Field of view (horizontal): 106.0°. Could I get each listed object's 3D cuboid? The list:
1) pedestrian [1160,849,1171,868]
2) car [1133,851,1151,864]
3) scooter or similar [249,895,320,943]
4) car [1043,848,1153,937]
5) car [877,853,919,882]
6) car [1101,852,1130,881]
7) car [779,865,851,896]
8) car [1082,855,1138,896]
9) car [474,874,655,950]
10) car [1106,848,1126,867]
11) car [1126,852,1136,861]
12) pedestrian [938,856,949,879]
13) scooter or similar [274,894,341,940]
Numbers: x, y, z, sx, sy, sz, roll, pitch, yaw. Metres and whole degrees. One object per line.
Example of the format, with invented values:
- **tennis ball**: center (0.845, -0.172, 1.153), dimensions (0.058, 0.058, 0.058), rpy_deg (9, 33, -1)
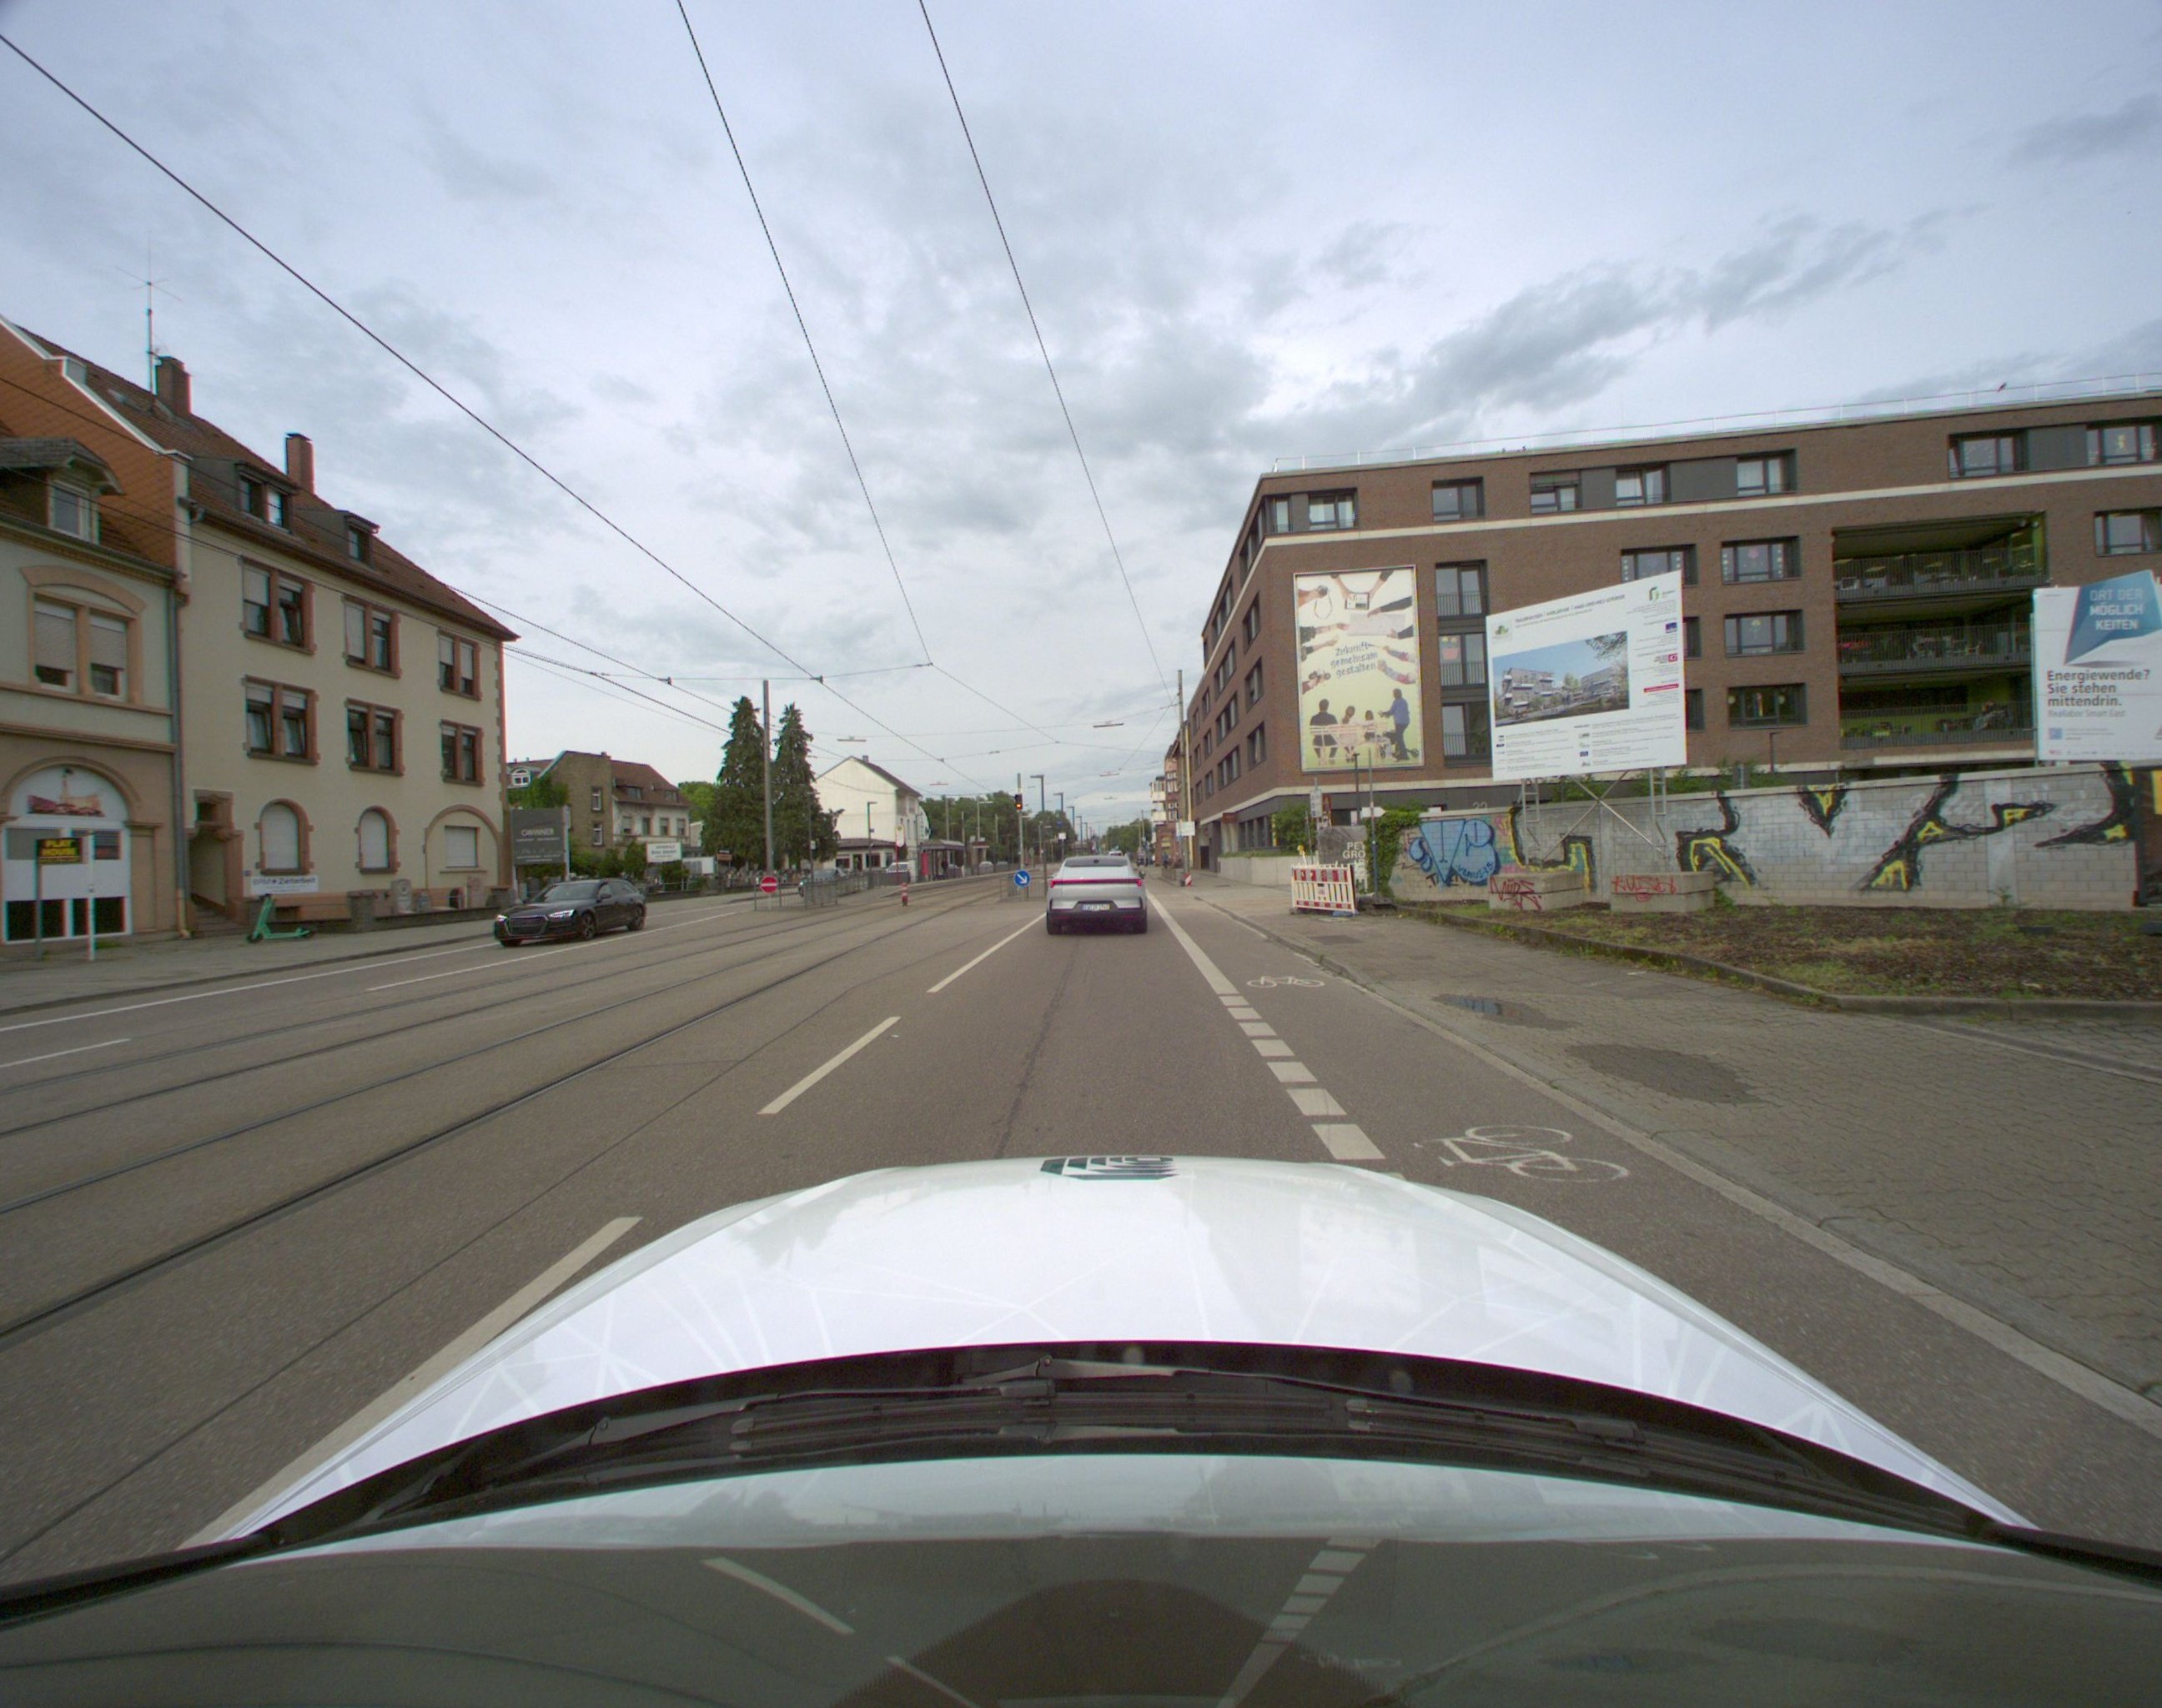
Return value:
- **pedestrian**: center (8.633, 0.503, 83.206), dimensions (0.955, 1.850, 0.978), rpy_deg (-4, 0, 8)
- **car**: center (9.748, 0.528, 130.227), dimensions (1.978, 2.014, 4.017), rpy_deg (-2, -1, 16)
- **scooter or similar**: center (-20.069, 1.623, 20.553), dimensions (1.182, 1.102, 0.522), rpy_deg (-1, -1, -32)
- **car**: center (0.254, 0.738, 16.896), dimensions (1.994, 1.581, 3.997), rpy_deg (-1, -1, -2)
- **car**: center (-13.467, 0.977, 60.095), dimensions (1.878, 1.988, 4.526), rpy_deg (-3, -1, 1)
- **car**: center (2.122, 0.761, 50.173), dimensions (1.674, 1.687, 3.826), rpy_deg (-1, -1, 3)
- **car**: center (-14.260, 1.376, 43.896), dimensions (1.871, 1.428, 4.433), rpy_deg (-3, 0, 7)
- **car**: center (1.105, 0.801, 31.985), dimensions (1.986, 1.420, 4.001), rpy_deg (-3, 0, 1)
- **car**: center (-12.440, 1.306, 20.060), dimensions (1.904, 1.473, 4.805), rpy_deg (-3, 0, -8)
- **car**: center (4.595, 0.429, 107.396), dimensions (2.219, 2.402, 5.120), rpy_deg (-1, -1, -1)
- **car**: center (14.932, 0.759, 243.733), dimensions (2.796, 2.505, 5.726), rpy_deg (-1, -1, 3)
- **pedestrian**: center (-10.151, 0.989, 60.111), dimensions (0.617, 1.664, 0.693), rpy_deg (-1, -1, -18)
- **scooter or similar**: center (-20.274, 1.642, 21.364), dimensions (1.182, 1.102, 0.522), rpy_deg (-1, -1, -32)
